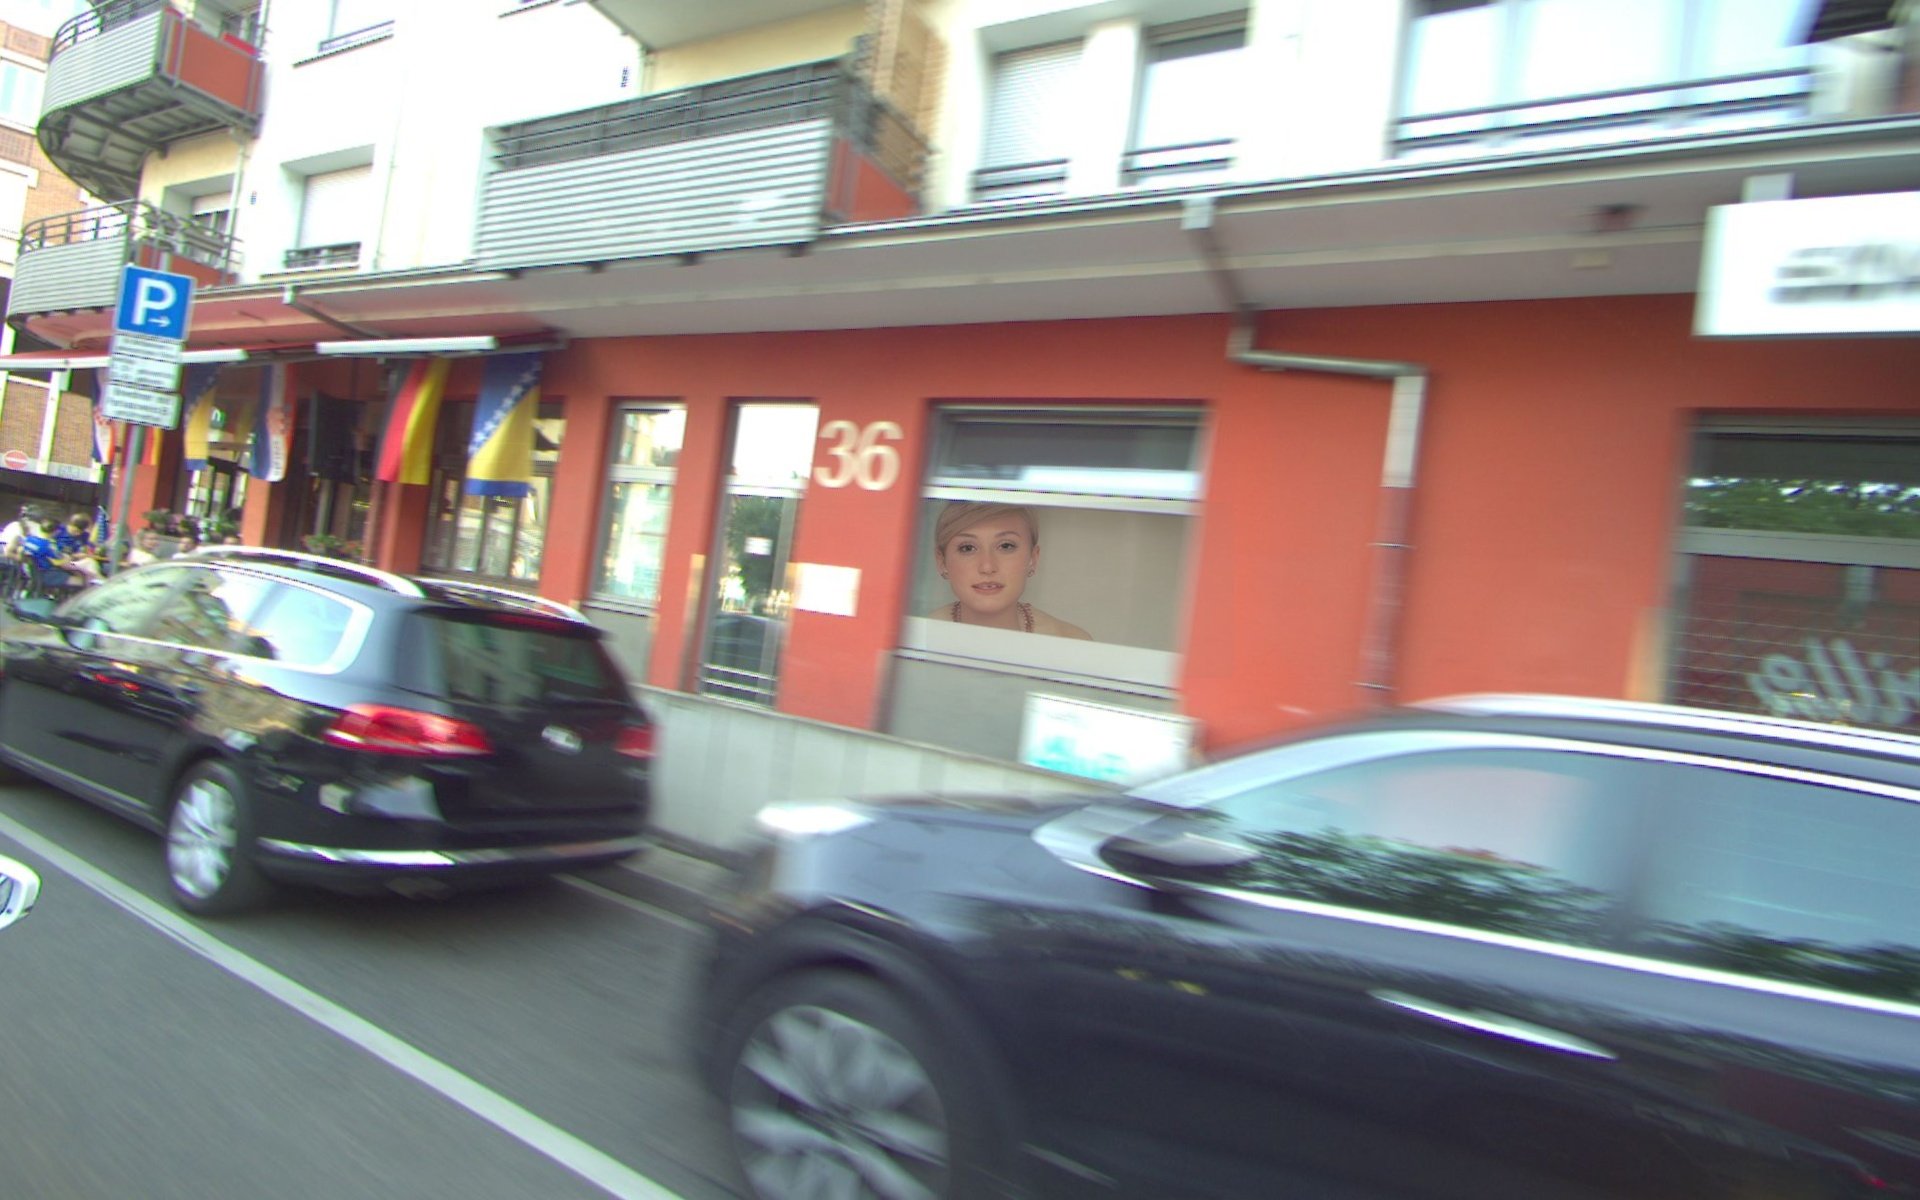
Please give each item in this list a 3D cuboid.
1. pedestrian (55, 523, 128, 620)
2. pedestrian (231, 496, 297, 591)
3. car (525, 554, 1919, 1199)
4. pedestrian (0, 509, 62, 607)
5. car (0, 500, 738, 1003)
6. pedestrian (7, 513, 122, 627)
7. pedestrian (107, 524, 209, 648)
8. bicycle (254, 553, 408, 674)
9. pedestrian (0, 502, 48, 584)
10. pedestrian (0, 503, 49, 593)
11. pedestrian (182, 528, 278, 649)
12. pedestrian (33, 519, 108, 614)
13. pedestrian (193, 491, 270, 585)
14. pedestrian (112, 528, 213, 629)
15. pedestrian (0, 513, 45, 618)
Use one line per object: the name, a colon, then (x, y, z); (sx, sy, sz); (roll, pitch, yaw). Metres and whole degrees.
pedestrian: (-11.543, -0.378, 13.382); (0.529, 1.217, 0.417); (6, 2, -13)
pedestrian: (-12.942, -1.045, 18.727); (0.598, 1.625, 0.534); (8, -2, 9)
car: (1.305, 1.075, 2.534); (4.709, 1.659, 1.771); (8, -4, 30)
pedestrian: (-12.945, -0.578, 13.861); (0.502, 1.293, 0.627); (6, 2, -7)
car: (-3.667, 0.497, 5.448); (4.709, 1.518, 1.771); (7, -4, 31)
pedestrian: (-10.773, -0.348, 12.119); (0.483, 1.273, 0.859); (7, 2, 30)
pedestrian: (-9.075, -0.154, 11.386); (0.600, 1.302, 0.686); (7, 0, 39)
bicycle: (-7.001, 0.142, 11.178); (1.713, 1.167, 0.537); (5, -1, 26)
pedestrian: (-15.816, -0.953, 16.747); (0.611, 1.294, 0.697); (8, 0, -22)
pedestrian: (-14.499, -0.806, 15.535); (0.514, 1.292, 0.489); (8, 0, 43)
pedestrian: (-8.930, -0.130, 12.309); (0.684, 1.364, 0.608); (7, 0, 29)
pedestrian: (-12.137, -0.454, 13.735); (0.560, 1.217, 0.417); (6, 2, -12)
pedestrian: (-13.829, -1.164, 19.113); (0.675, 1.625, 0.716); (8, -2, 4)
pedestrian: (-10.628, -0.278, 13.410); (0.702, 1.239, 0.780); (7, 2, 30)
pedestrian: (-11.860, -0.440, 12.667); (0.340, 1.273, 0.357); (5, 2, -27)
